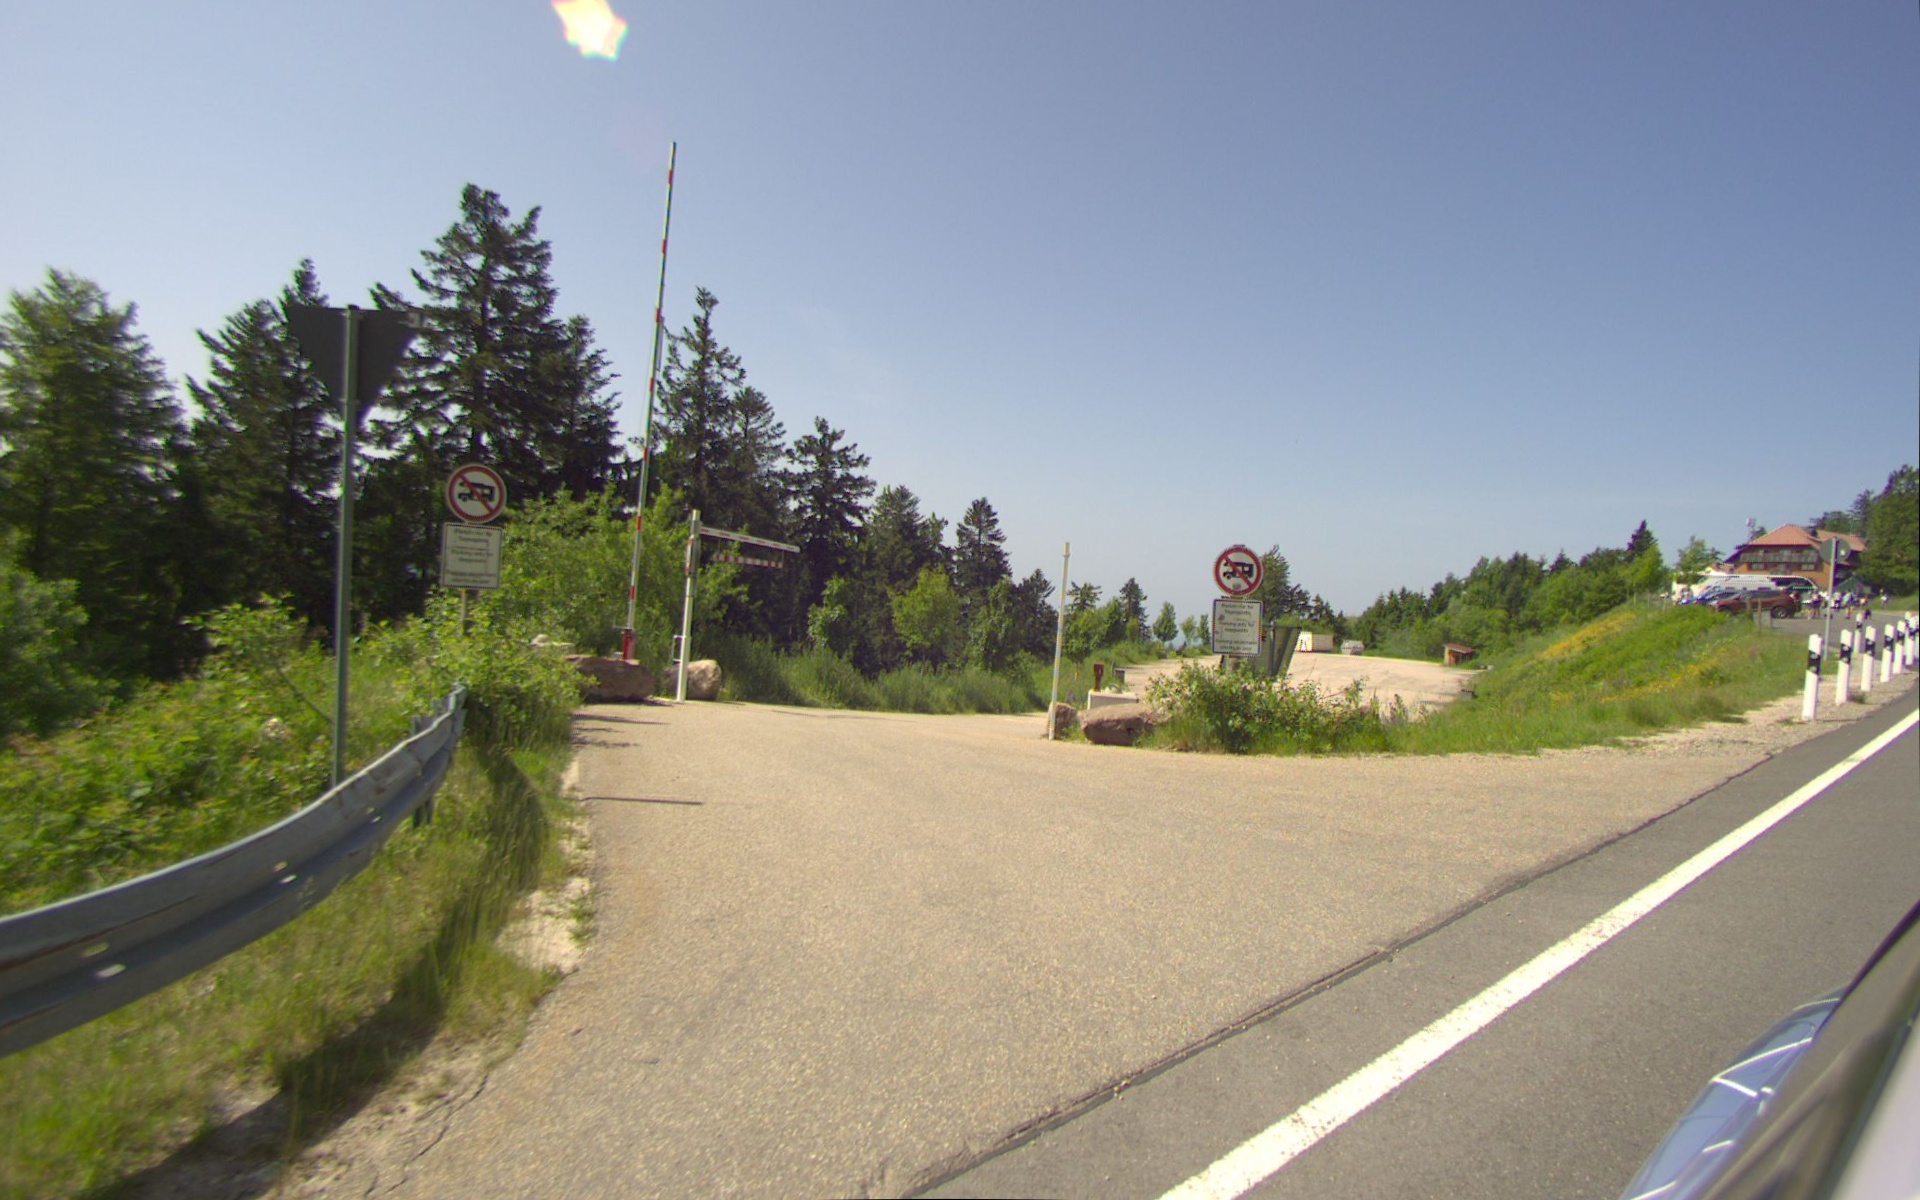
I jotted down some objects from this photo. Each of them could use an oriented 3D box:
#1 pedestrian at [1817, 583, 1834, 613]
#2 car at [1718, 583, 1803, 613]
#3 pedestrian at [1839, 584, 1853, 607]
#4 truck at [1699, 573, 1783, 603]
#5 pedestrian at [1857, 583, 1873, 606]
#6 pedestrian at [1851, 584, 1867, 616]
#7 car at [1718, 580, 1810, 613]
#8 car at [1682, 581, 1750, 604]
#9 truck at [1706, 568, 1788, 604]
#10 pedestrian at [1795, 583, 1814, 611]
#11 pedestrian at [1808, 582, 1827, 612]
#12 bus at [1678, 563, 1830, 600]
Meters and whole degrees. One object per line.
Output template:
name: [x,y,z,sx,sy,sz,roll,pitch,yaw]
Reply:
pedestrian: [50.723,-0.138,59.301,0.716,1.713,0.609,2,1,44]
car: [47.359,-0.137,59.975,3.801,1.681,1.633,0,0,33]
pedestrian: [69.346,-0.358,79.207,0.878,1.762,0.666,1,1,-40]
truck: [74.803,-1.155,97.102,6.247,2.623,2.309,3,1,37]
pedestrian: [70.151,-0.416,78.464,0.761,1.782,0.755,1,1,-39]
pedestrian: [51.671,0.000,58.157,0.617,1.797,0.712,2,1,44]
car: [49.859,-0.238,62.825,1.861,1.816,4.268,0,3,-44]
car: [56.580,-0.541,75.849,3.972,1.668,1.581,0,0,34]
truck: [77.235,-1.376,99.456,6.045,3.235,2.501,3,2,35]
pedestrian: [49.790,-0.159,59.648,0.721,1.607,0.619,3,1,-34]
pedestrian: [49.498,-0.162,58.432,0.675,1.681,0.654,3,1,-40]
bus: [86.802,-2.058,111.072,12.823,3.621,2.800,3,2,38]
